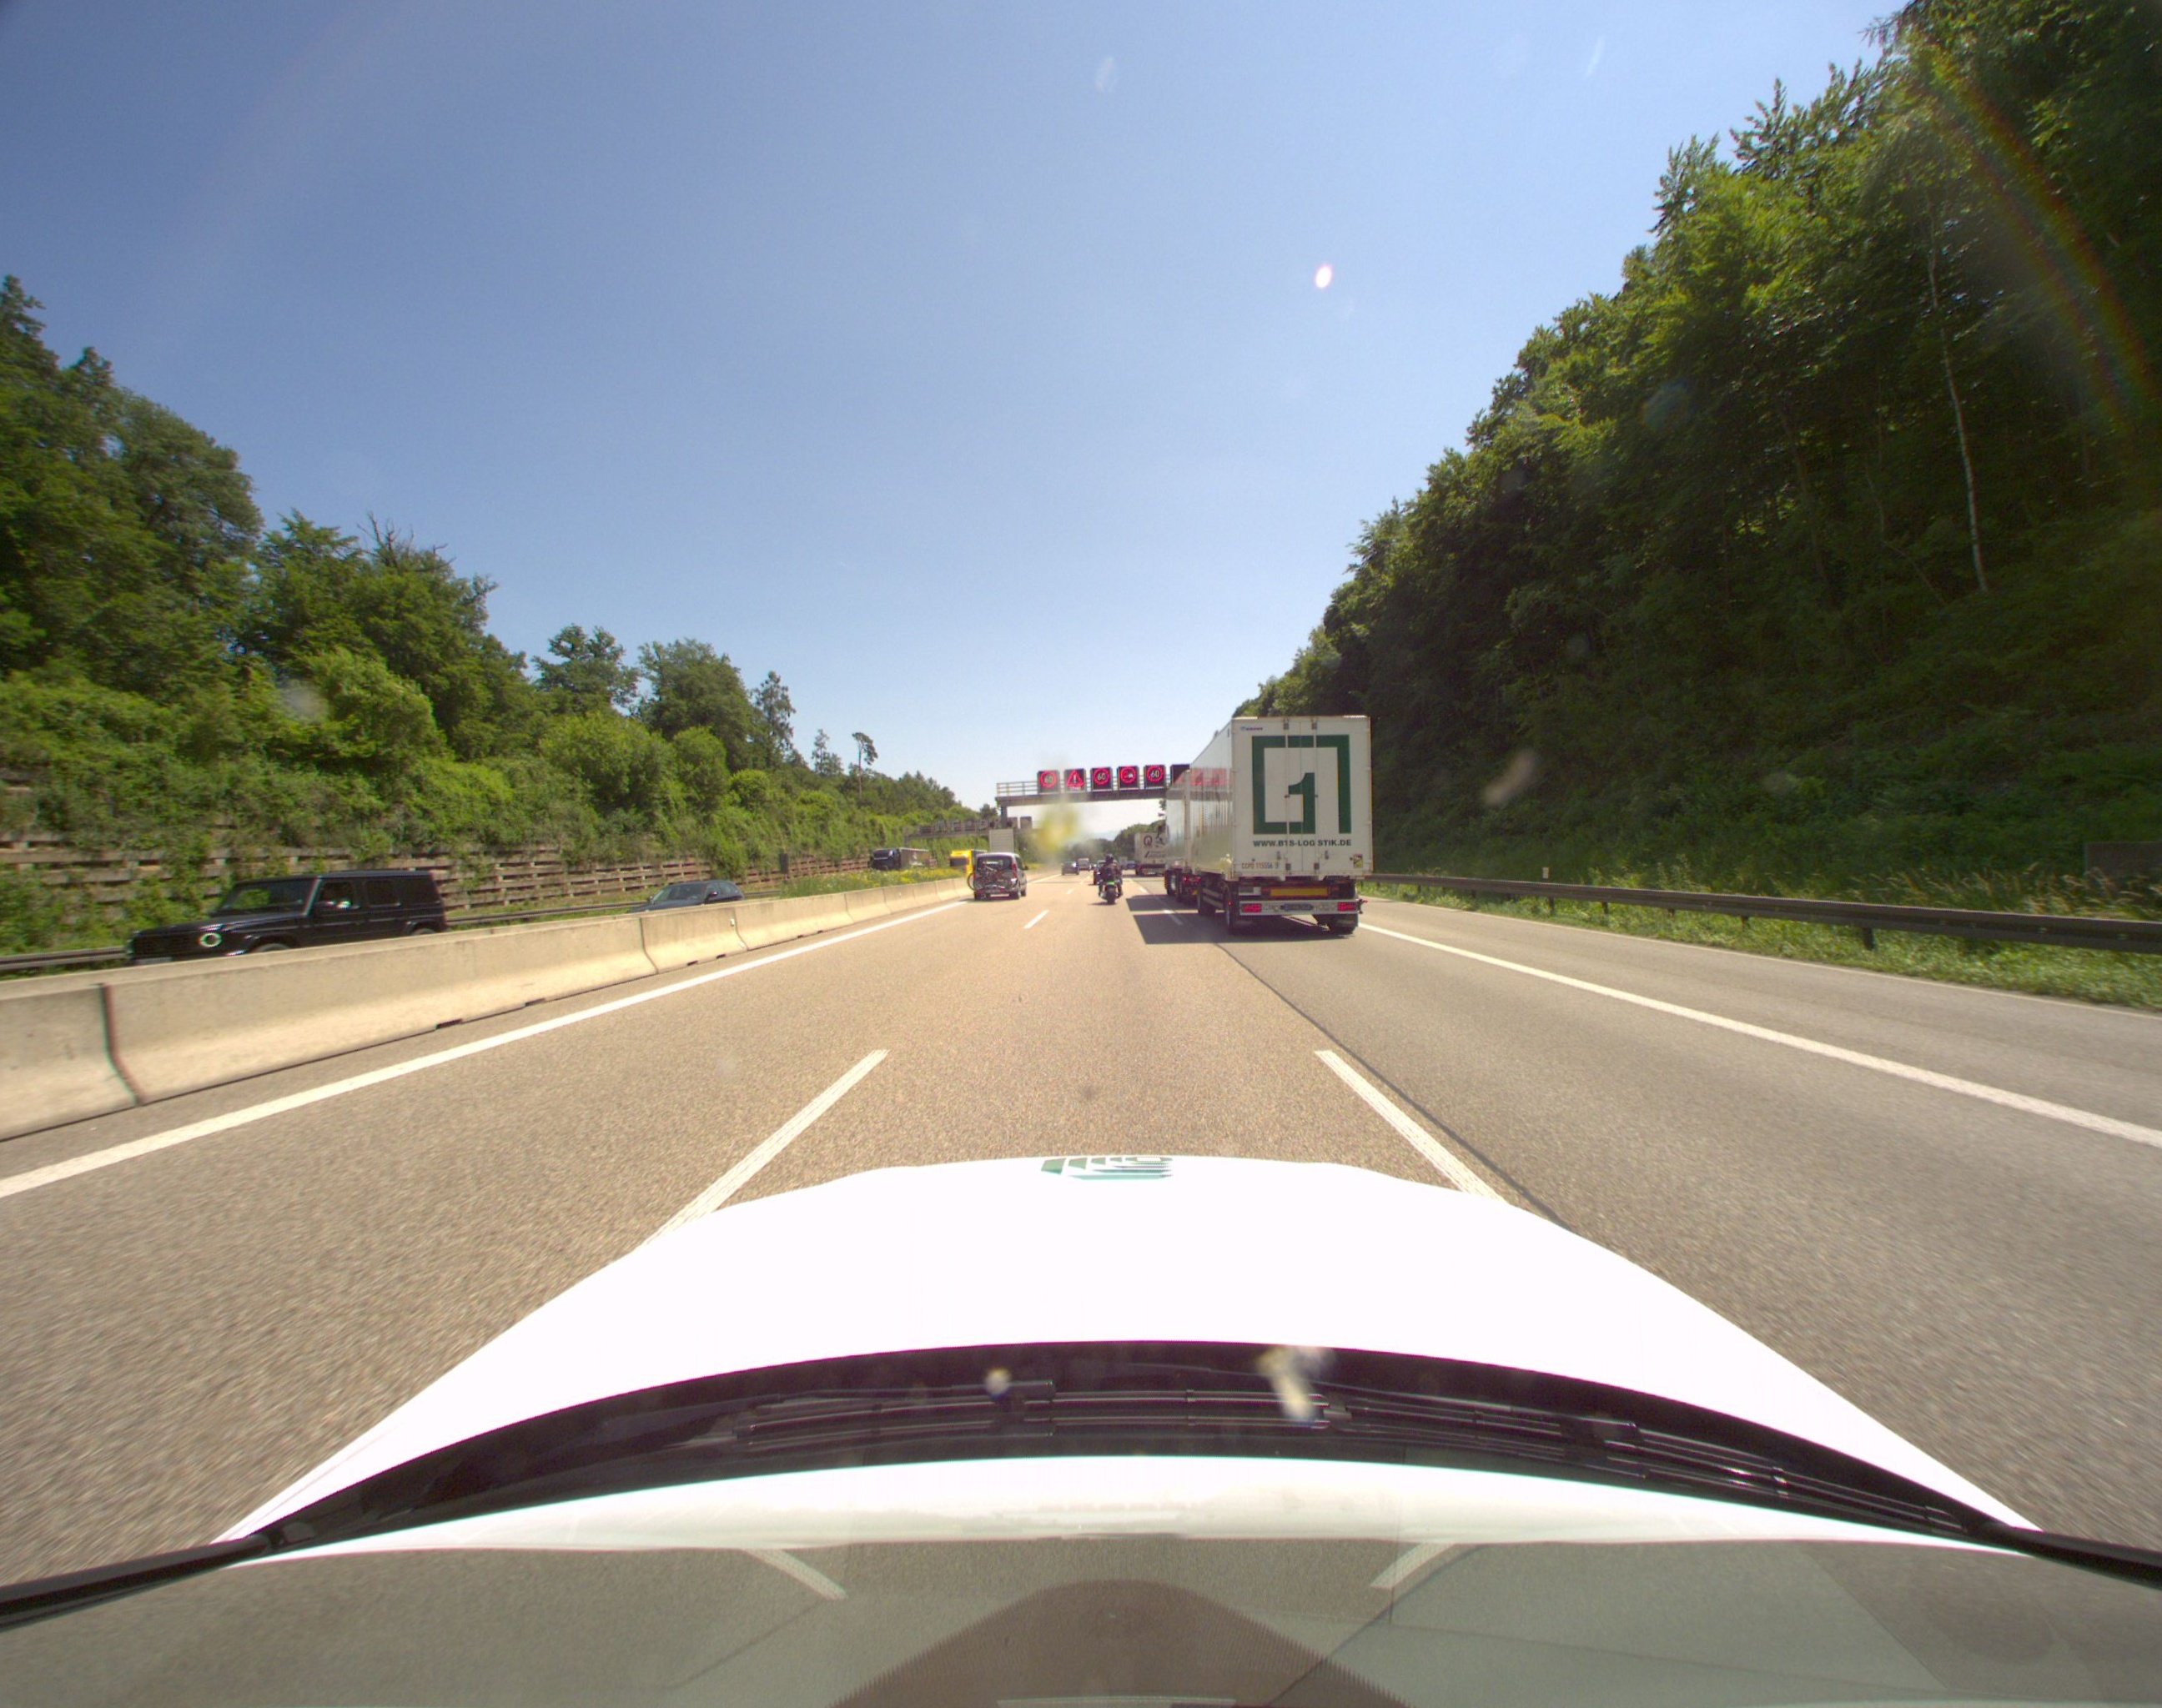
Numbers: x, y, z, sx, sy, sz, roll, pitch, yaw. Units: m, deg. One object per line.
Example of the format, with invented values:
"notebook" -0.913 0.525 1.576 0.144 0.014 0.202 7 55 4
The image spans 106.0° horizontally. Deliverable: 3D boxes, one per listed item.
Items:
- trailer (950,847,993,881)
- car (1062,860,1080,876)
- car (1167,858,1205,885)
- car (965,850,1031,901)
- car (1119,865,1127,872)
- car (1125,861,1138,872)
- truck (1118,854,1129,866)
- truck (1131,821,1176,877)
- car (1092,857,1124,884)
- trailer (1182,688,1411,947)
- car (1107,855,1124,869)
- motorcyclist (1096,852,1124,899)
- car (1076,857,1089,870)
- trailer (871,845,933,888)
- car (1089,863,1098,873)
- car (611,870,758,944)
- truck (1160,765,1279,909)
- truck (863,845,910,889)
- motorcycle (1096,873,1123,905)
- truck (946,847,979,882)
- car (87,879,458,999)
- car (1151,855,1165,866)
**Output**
"trailer" -14.884 1.368 111.929 2.966 4.207 14.474 -4 -1 3
"car" -1.015 1.484 87.667 1.751 1.544 4.396 -1 0 1
"car" 6.414 1.025 50.100 1.838 1.557 4.393 -1 0 1
"car" -3.236 0.819 32.731 1.891 1.848 5.484 -1 -1 2
"car" 10.775 3.661 207.682 1.824 1.527 4.028 -1 0 1
"car" 7.683 1.877 124.934 1.824 1.527 4.028 -1 0 1
"truck" 12.233 1.786 233.690 3.056 3.346 9.655 0 0 2
"truck" 6.694 -0.366 78.068 3.370 4.718 17.715 0 0 2
"car" 1.633 0.975 49.897 1.838 1.557 4.441 -1 0 1
"trailer" 4.131 -0.563 18.302 2.670 4.176 10.068 -1 0 2
"car" 4.018 0.930 95.637 1.824 1.558 4.121 -1 0 1
"motorcyclist" 0.972 0.719 27.114 0.852 1.515 0.914 -2 -1 2
"car" 0.281 1.423 119.761 1.824 1.810 4.121 -1 0 1
"trailer" -19.293 1.320 89.005 2.967 4.101 13.999 -4 -1 2
"car" 2.463 2.783 160.193 1.824 1.810 4.121 -1 0 1
"car" -10.400 1.329 21.750 1.755 1.605 4.083 -3 0 1
"truck" 4.481 -0.449 28.666 2.670 4.059 10.630 -1 0 2
"truck" -19.532 1.309 82.172 2.923 4.059 5.870 -4 -1 2
"motorcycle" 0.967 1.134 27.136 0.859 0.982 2.132 -2 -1 3
"truck" -15.197 1.320 104.906 2.940 4.202 6.460 -4 -1 2
"car" -14.194 1.371 14.827 1.932 1.605 4.658 -3 0 1
"car" 11.287 0.947 119.510 1.824 1.527 4.028 -1 0 1
